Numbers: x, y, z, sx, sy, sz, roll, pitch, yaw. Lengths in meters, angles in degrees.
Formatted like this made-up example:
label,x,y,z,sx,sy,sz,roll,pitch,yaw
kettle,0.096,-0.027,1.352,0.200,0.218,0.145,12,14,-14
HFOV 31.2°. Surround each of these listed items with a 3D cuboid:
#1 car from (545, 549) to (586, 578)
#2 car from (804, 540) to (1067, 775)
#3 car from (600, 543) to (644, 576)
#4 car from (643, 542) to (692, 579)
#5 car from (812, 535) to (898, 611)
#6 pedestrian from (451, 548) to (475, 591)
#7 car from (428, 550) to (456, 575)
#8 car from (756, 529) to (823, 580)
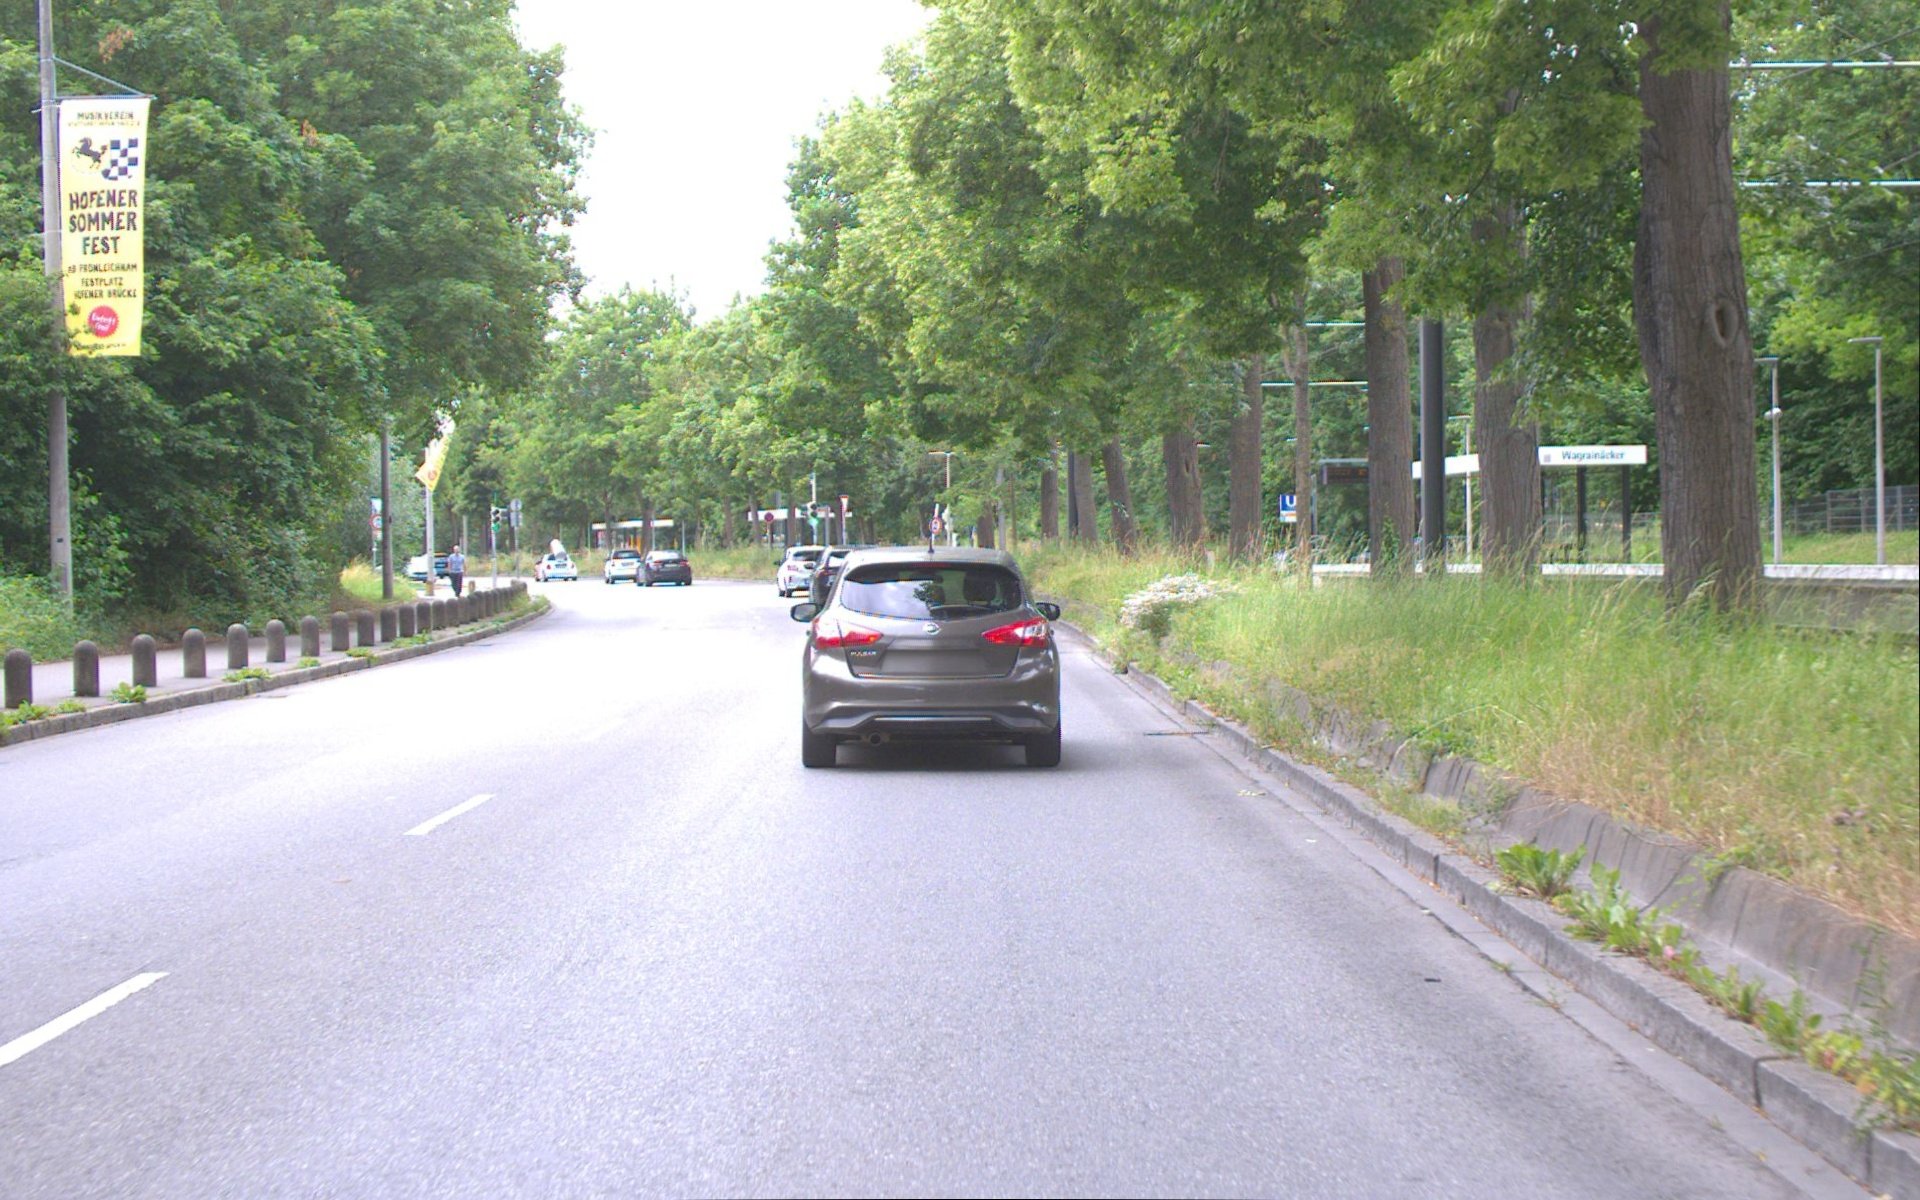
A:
label,x,y,z,sx,sy,sz,roll,pitch,yaw
car,-20.294,-1.886,176.885,1.561,1.436,3.553,0,1,-15
car,-0.206,0.353,24.538,1.730,1.532,3.552,0,1,-1
car,-15.229,-1.835,154.854,1.561,1.436,3.553,0,1,-12
car,-11.883,-1.614,139.722,1.561,1.436,3.553,0,1,-12
car,-2.171,-0.578,71.591,1.730,1.532,3.552,0,1,-1
pedestrian,-15.833,-0.985,109.524,0.720,1.364,0.654,0,1,-9
car,-31.432,-2.277,208.566,1.561,1.436,3.553,0,1,-11
car,-5.024,-1.351,101.108,1.561,1.436,3.553,0,1,-9
